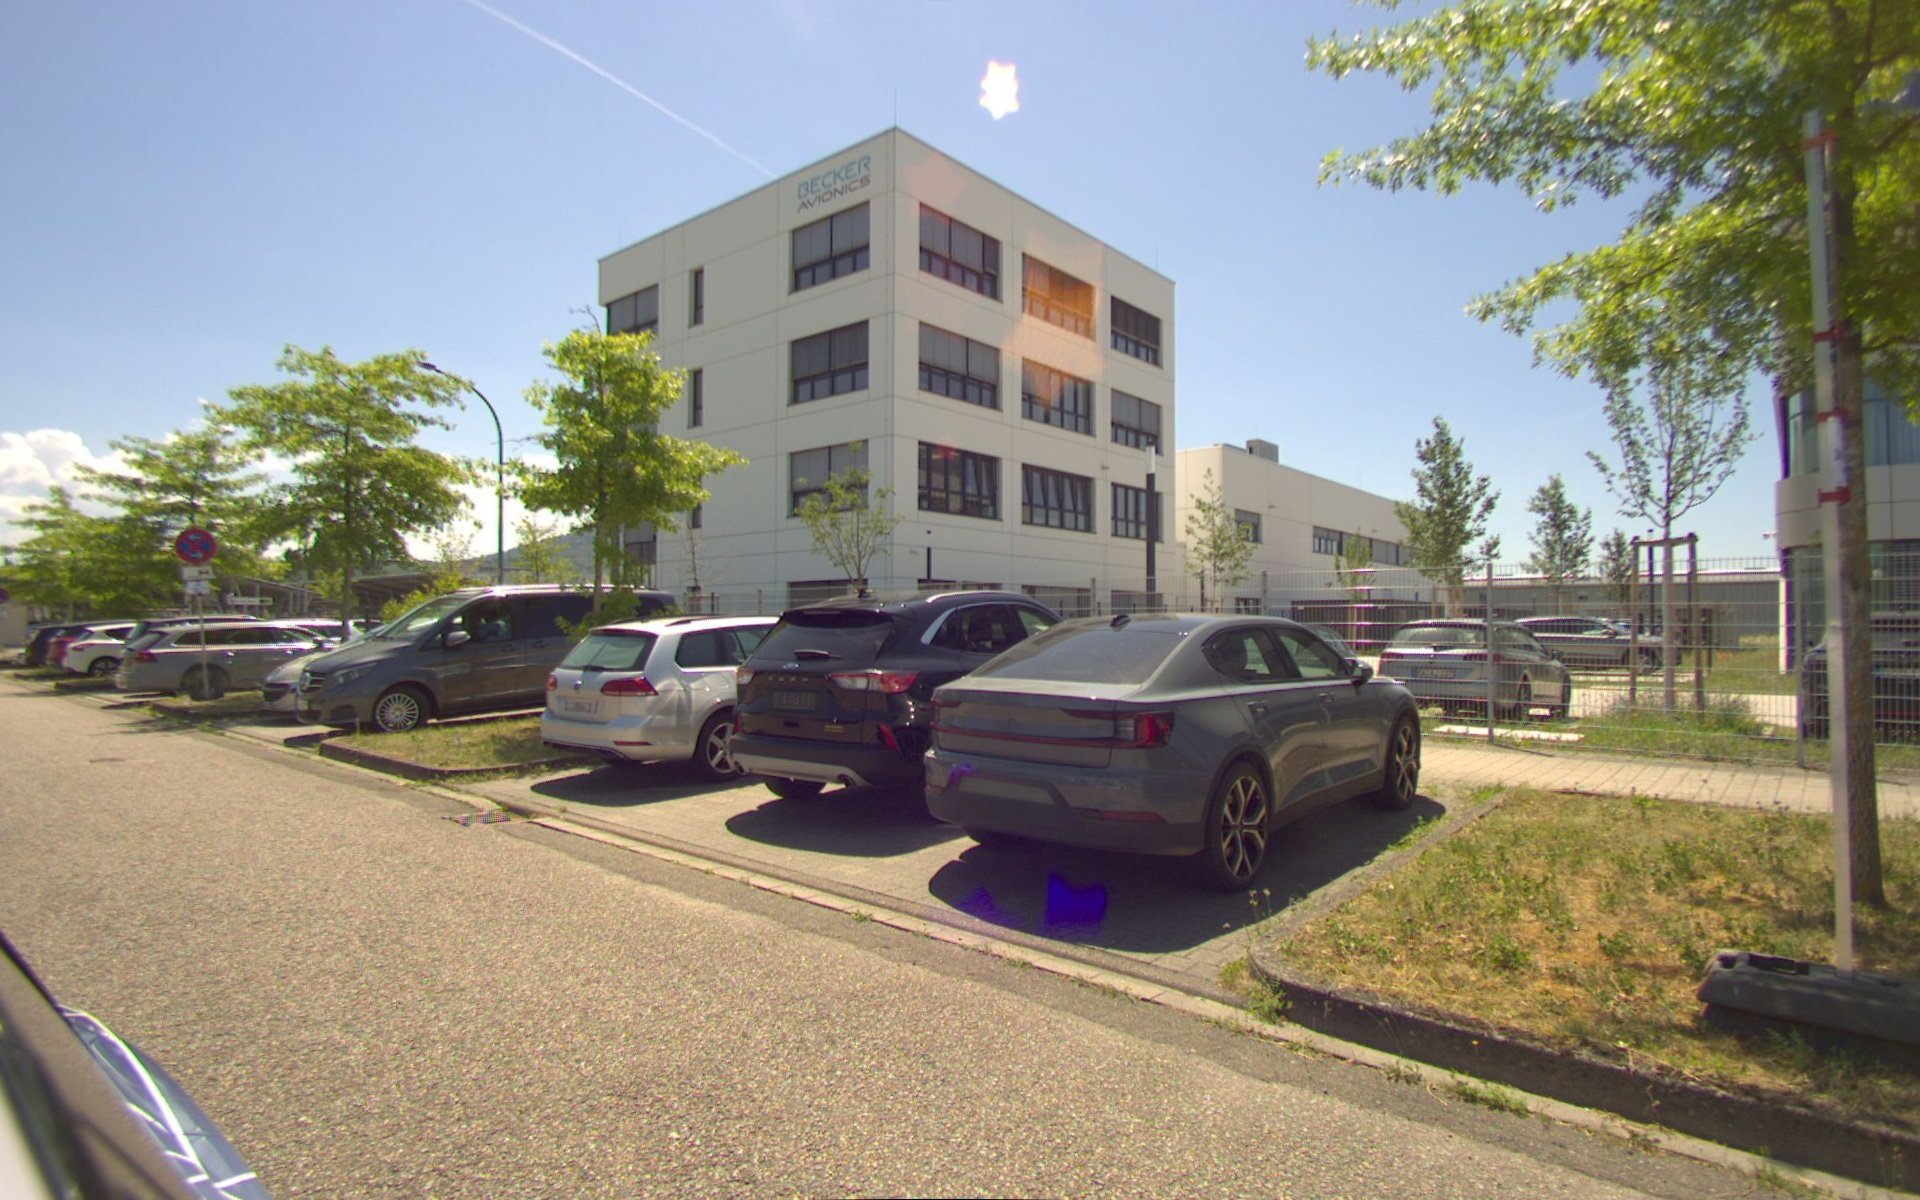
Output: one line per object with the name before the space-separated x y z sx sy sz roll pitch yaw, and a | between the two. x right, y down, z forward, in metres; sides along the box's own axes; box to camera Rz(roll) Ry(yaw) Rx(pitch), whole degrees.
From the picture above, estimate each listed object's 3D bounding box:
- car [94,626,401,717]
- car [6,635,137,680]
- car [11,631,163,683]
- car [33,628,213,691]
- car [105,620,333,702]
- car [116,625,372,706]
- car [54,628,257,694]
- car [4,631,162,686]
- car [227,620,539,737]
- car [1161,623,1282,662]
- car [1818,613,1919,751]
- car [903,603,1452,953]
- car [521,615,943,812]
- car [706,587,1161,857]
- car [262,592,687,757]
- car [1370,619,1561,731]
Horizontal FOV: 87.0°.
car | -13.974 1.329 20.104 1.856 1.458 4.665 -2 -1 40
car | -32.889 2.093 37.519 1.726 1.452 3.468 -2 -1 40
car | -30.899 1.983 35.895 1.827 1.605 3.802 -2 -1 38
car | -24.331 1.690 29.522 1.725 1.604 3.801 -2 -1 39
car | -17.334 1.369 23.812 1.727 1.647 4.073 -3 -1 43
car | -15.549 1.362 22.171 1.725 1.484 4.269 -2 -1 39
car | -22.039 1.642 27.841 1.807 1.524 4.127 -4 -2 42
car | -29.221 1.898 33.793 1.728 1.604 3.862 -3 -1 45
car | -9.001 1.141 16.031 1.763 1.495 3.927 -2 -1 41
car | 9.918 1.595 38.479 3.999 1.237 1.973 2 -1 41
car | 10.918 0.918 11.534 1.677 1.401 3.443 -2 -4 40
car | 1.700 0.821 6.664 1.712 1.491 4.149 -2 0 41
car | -2.059 0.942 10.126 1.602 1.472 3.998 -2 0 38
car | 0.017 0.769 8.519 1.774 1.691 3.951 -2 0 36
car | -6.572 0.882 14.210 1.997 1.906 5.015 -2 -1 42
car | 7.333 1.031 14.536 1.677 1.401 3.443 -2 -4 40
